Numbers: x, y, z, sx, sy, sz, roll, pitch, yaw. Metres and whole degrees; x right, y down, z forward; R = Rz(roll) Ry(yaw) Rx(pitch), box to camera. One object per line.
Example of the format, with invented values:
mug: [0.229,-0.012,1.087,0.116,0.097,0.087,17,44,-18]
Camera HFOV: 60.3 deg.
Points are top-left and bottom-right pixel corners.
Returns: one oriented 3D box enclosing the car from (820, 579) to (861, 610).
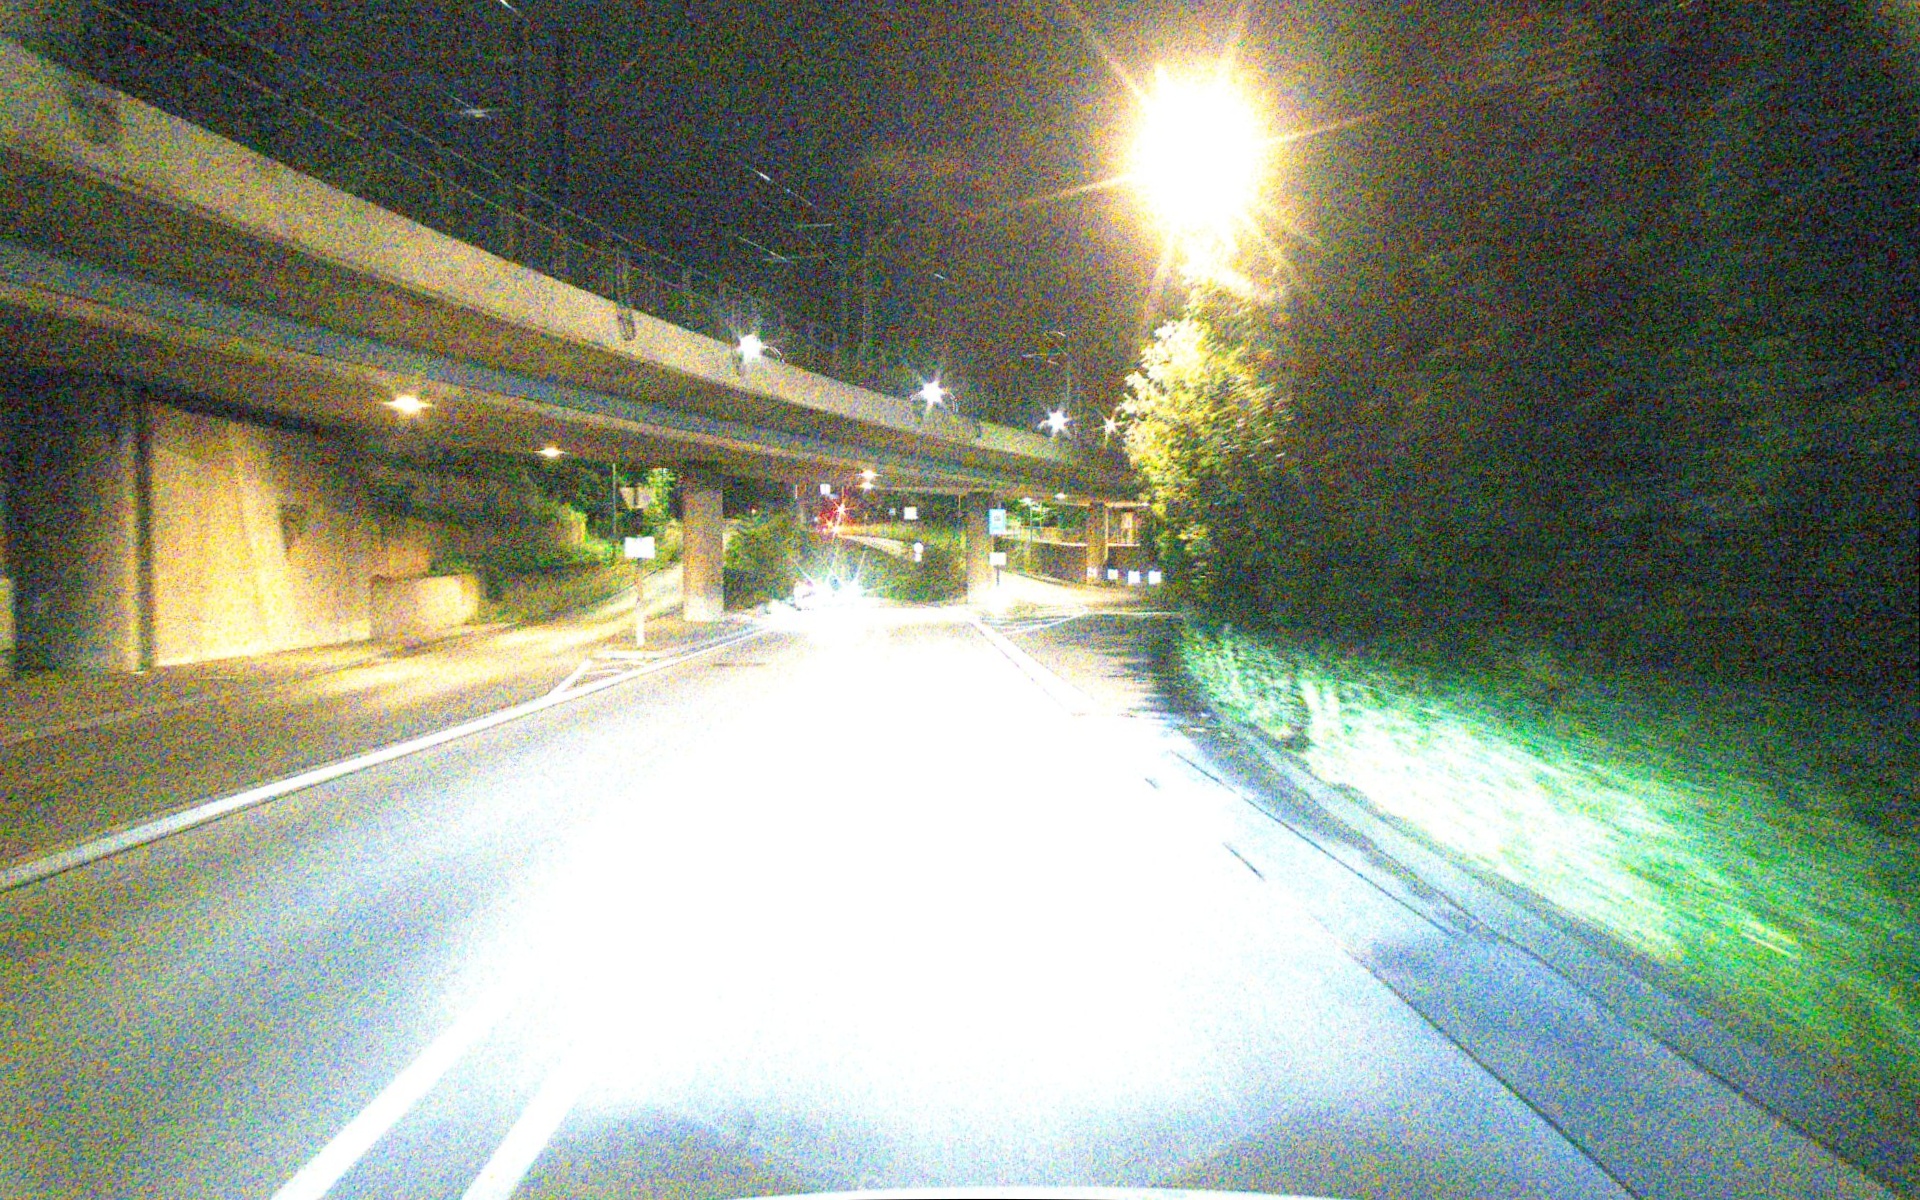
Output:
car: [-6.411,-0.296,89.181,1.843,1.581,4.218,-1,0,1]

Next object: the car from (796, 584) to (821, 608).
car: [-13.860,-0.360,150.876,1.884,2.049,4.112,2,-1,-10]
